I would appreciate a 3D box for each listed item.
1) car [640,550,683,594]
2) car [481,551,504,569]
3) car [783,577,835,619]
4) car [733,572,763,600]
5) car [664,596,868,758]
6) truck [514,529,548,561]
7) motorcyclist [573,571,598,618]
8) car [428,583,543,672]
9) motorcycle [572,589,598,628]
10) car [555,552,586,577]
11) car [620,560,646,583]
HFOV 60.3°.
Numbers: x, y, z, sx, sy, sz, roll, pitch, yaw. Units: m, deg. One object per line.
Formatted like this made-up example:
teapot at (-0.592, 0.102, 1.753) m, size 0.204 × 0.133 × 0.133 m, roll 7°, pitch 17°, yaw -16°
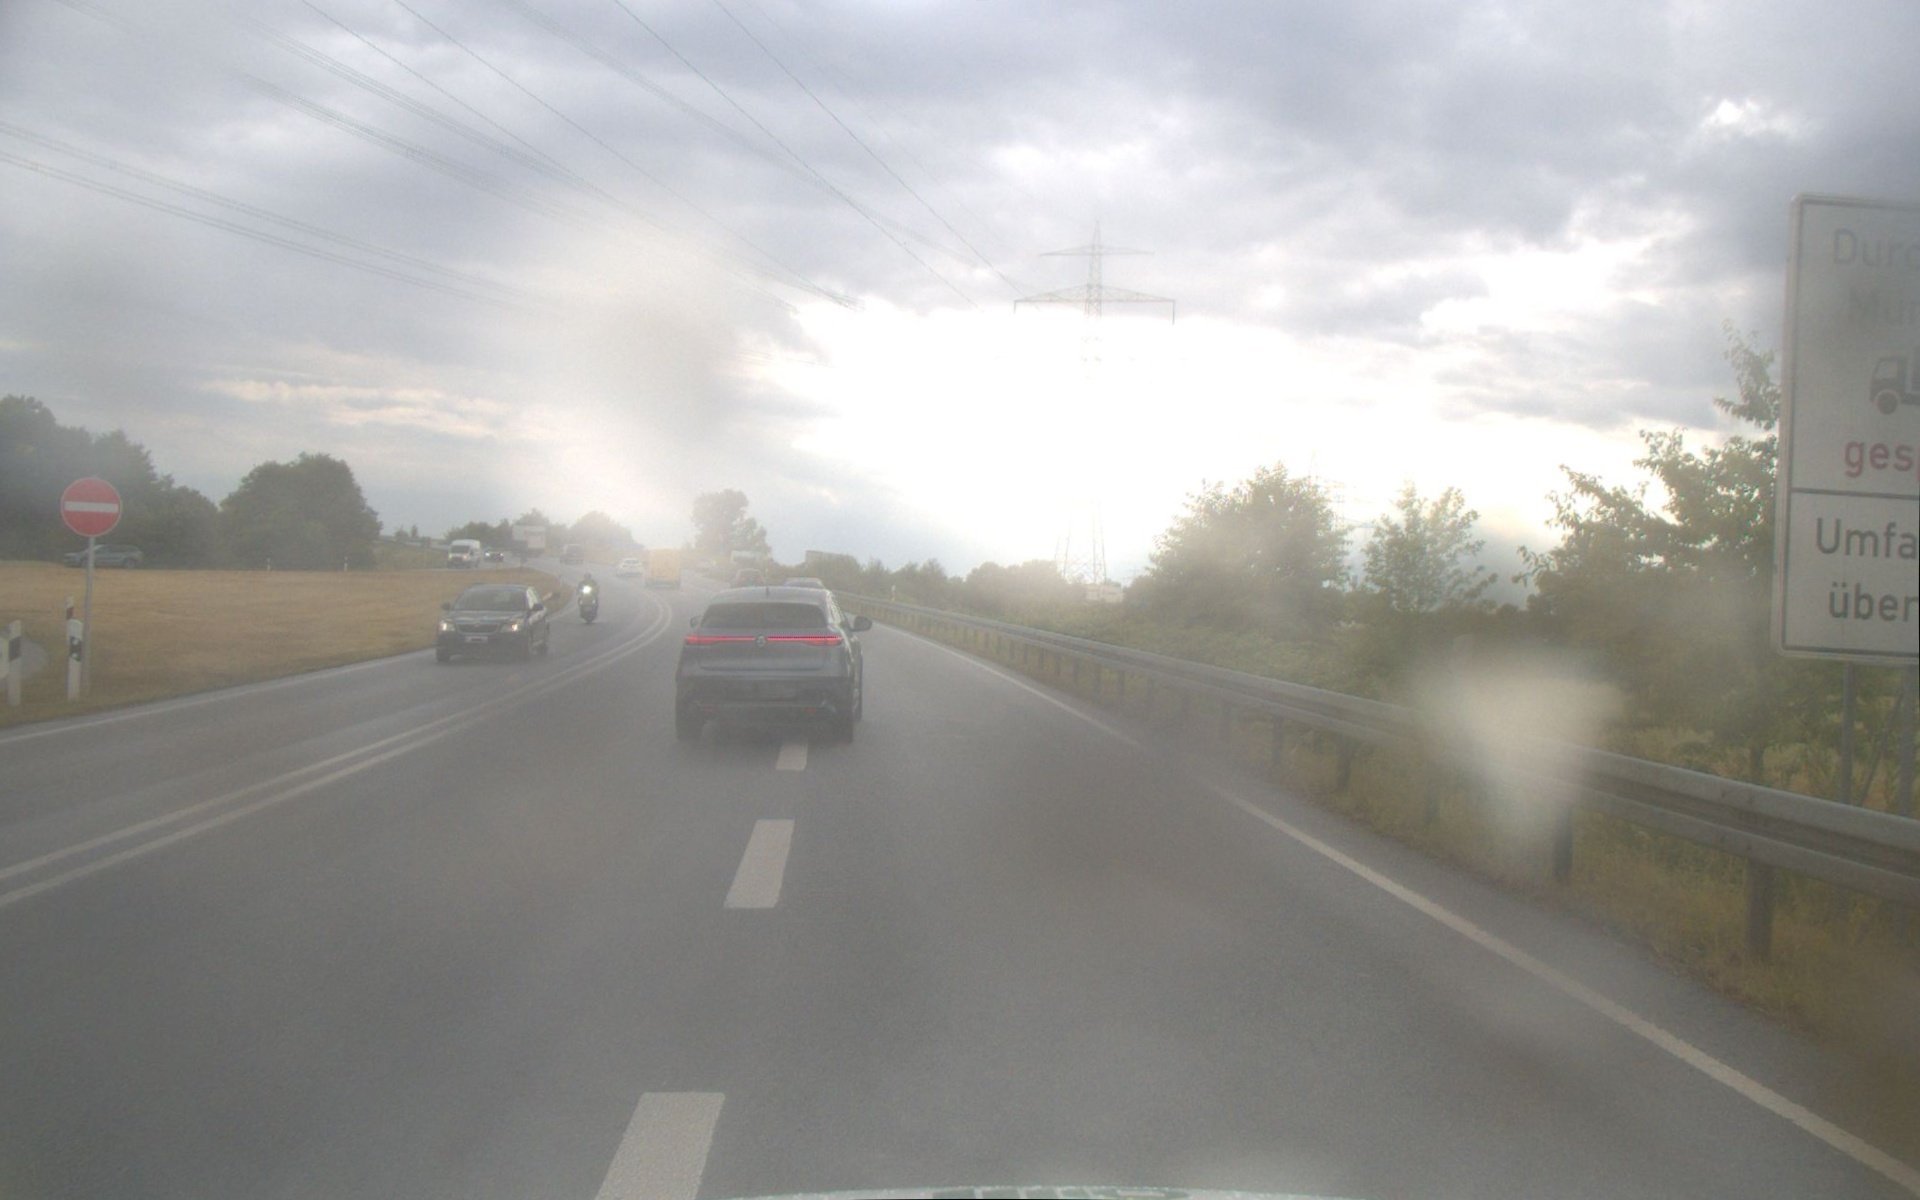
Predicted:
car at (-19.787, -1.792, 109.413) m, size 2.527 × 2.773 × 7.175 m, roll 1°, pitch 0°, yaw -12°
car at (-48.183, -4.105, 170.326) m, size 1.952 × 1.632 × 3.892 m, roll 3°, pitch -1°, yaw -20°
car at (-5.569, -0.061, 60.699) m, size 1.758 × 1.466 × 3.993 m, roll 0°, pitch -1°, yaw -8°
car at (-12.658, -0.832, 98.896) m, size 1.757 × 1.568 × 3.994 m, roll 2°, pitch 0°, yaw -7°
car at (-1.901, 0.708, 17.303) m, size 1.755 × 1.466 × 3.999 m, roll 1°, pitch 0°, yaw -2°
truck at (-50.508, -6.414, 194.628) m, size 3.002 × 3.444 × 7.595 m, roll 2°, pitch -1°, yaw -21°
motorcyclist at (-12.494, -0.186, 55.145) m, size 0.788 × 1.562 × 0.822 m, roll 1°, pitch 0°, yaw -13°
car at (-9.319, 0.521, 32.743) m, size 1.767 × 1.622 × 4.214 m, roll 1°, pitch -1°, yaw -11°
motorcycle at (-12.526, 0.273, 55.261) m, size 0.788 × 1.260 × 2.178 m, roll 1°, pitch 1°, yaw -13°
car at (-40.311, -3.648, 170.916) m, size 2.563 × 2.290 × 5.504 m, roll 2°, pitch -1°, yaw -19°
car at (-26.196, -2.242, 132.421) m, size 1.761 × 1.717 × 3.985 m, roll 1°, pitch -1°, yaw -14°
